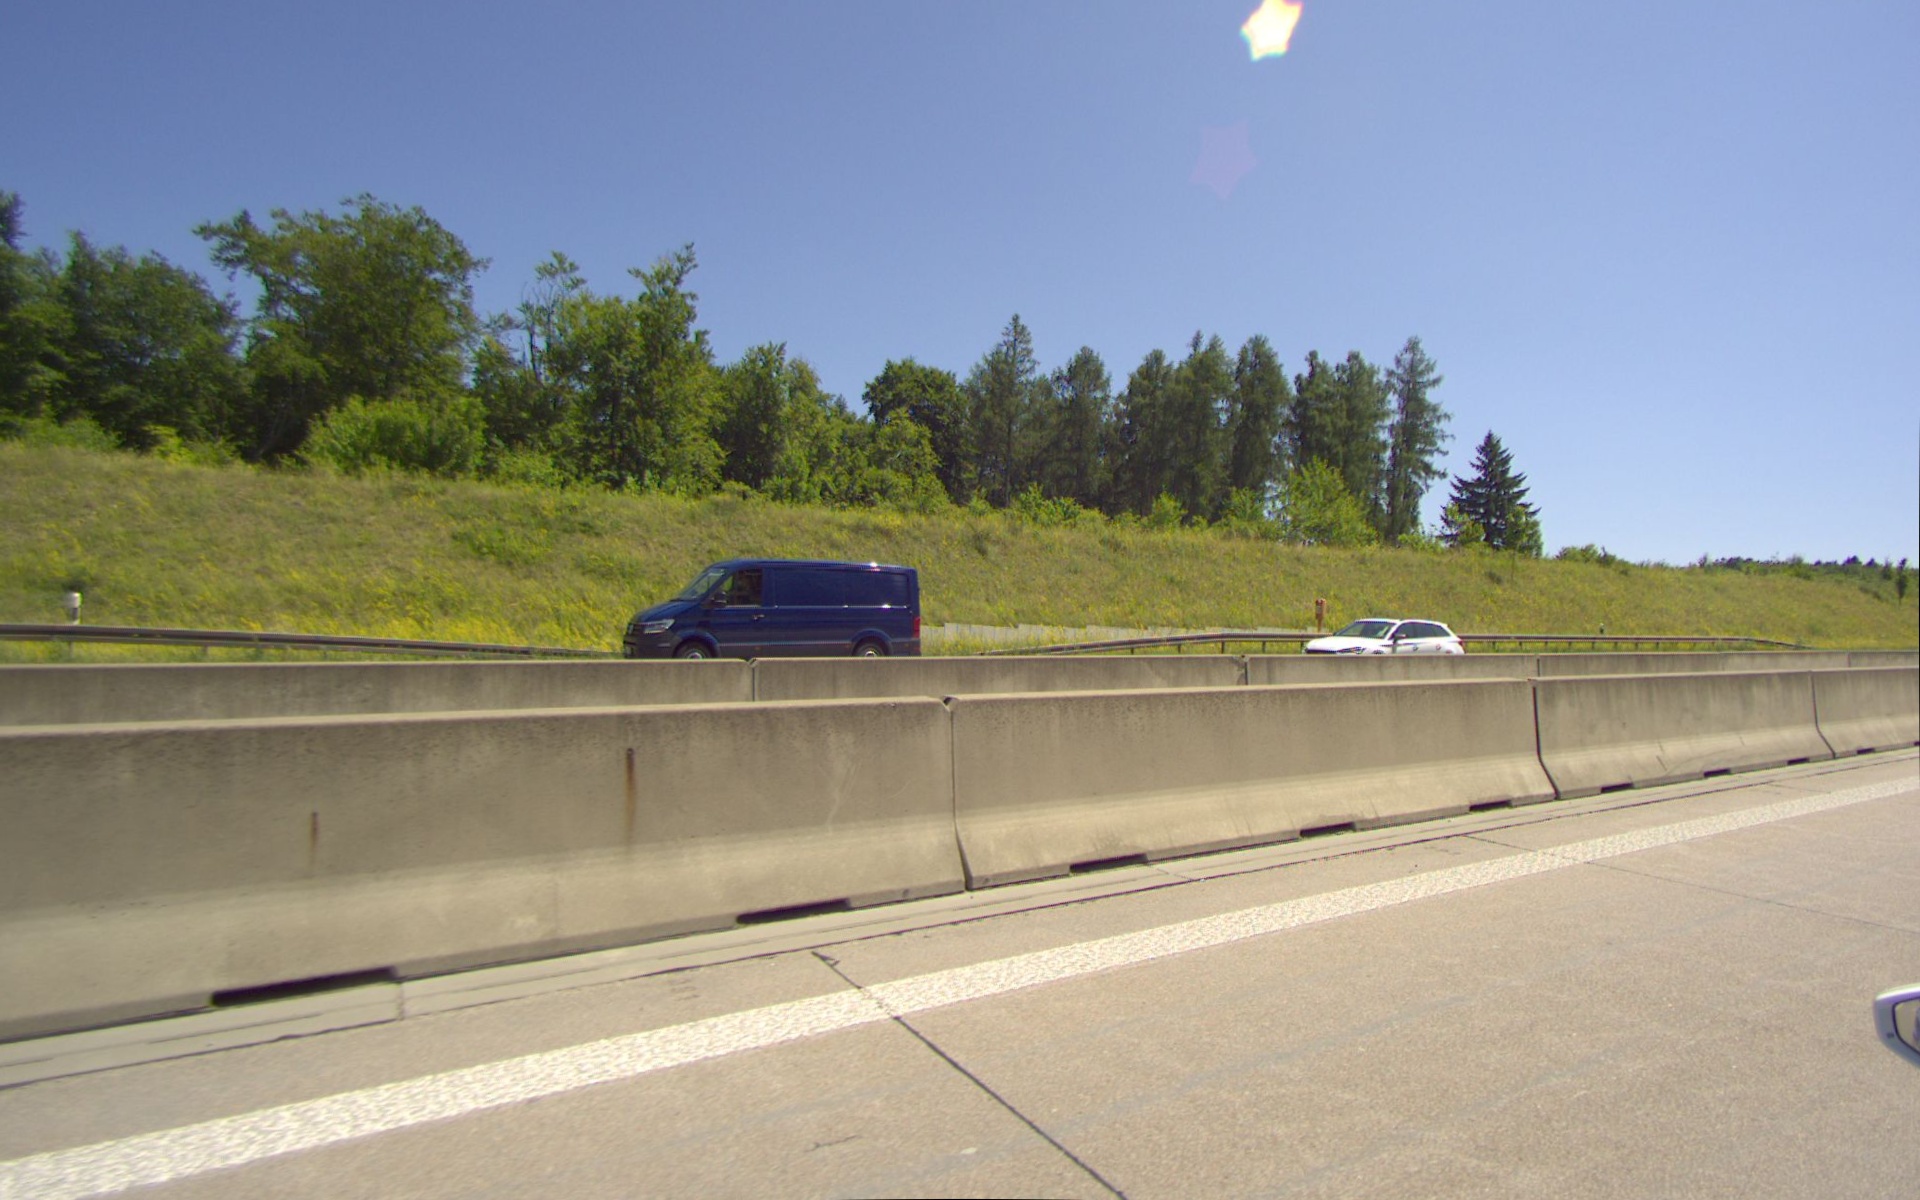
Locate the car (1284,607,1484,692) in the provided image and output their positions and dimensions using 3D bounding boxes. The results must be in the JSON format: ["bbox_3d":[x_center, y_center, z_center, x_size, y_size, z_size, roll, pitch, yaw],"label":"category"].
[{"bbox_3d":[10.176,1.139,24.031,4.799,1.831,1.997,1,0,-32],"label":"car"}]

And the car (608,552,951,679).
[{"bbox_3d":[-3.557,0.327,20.393,6.386,2.239,2.468,1,0,-32],"label":"car"}]
